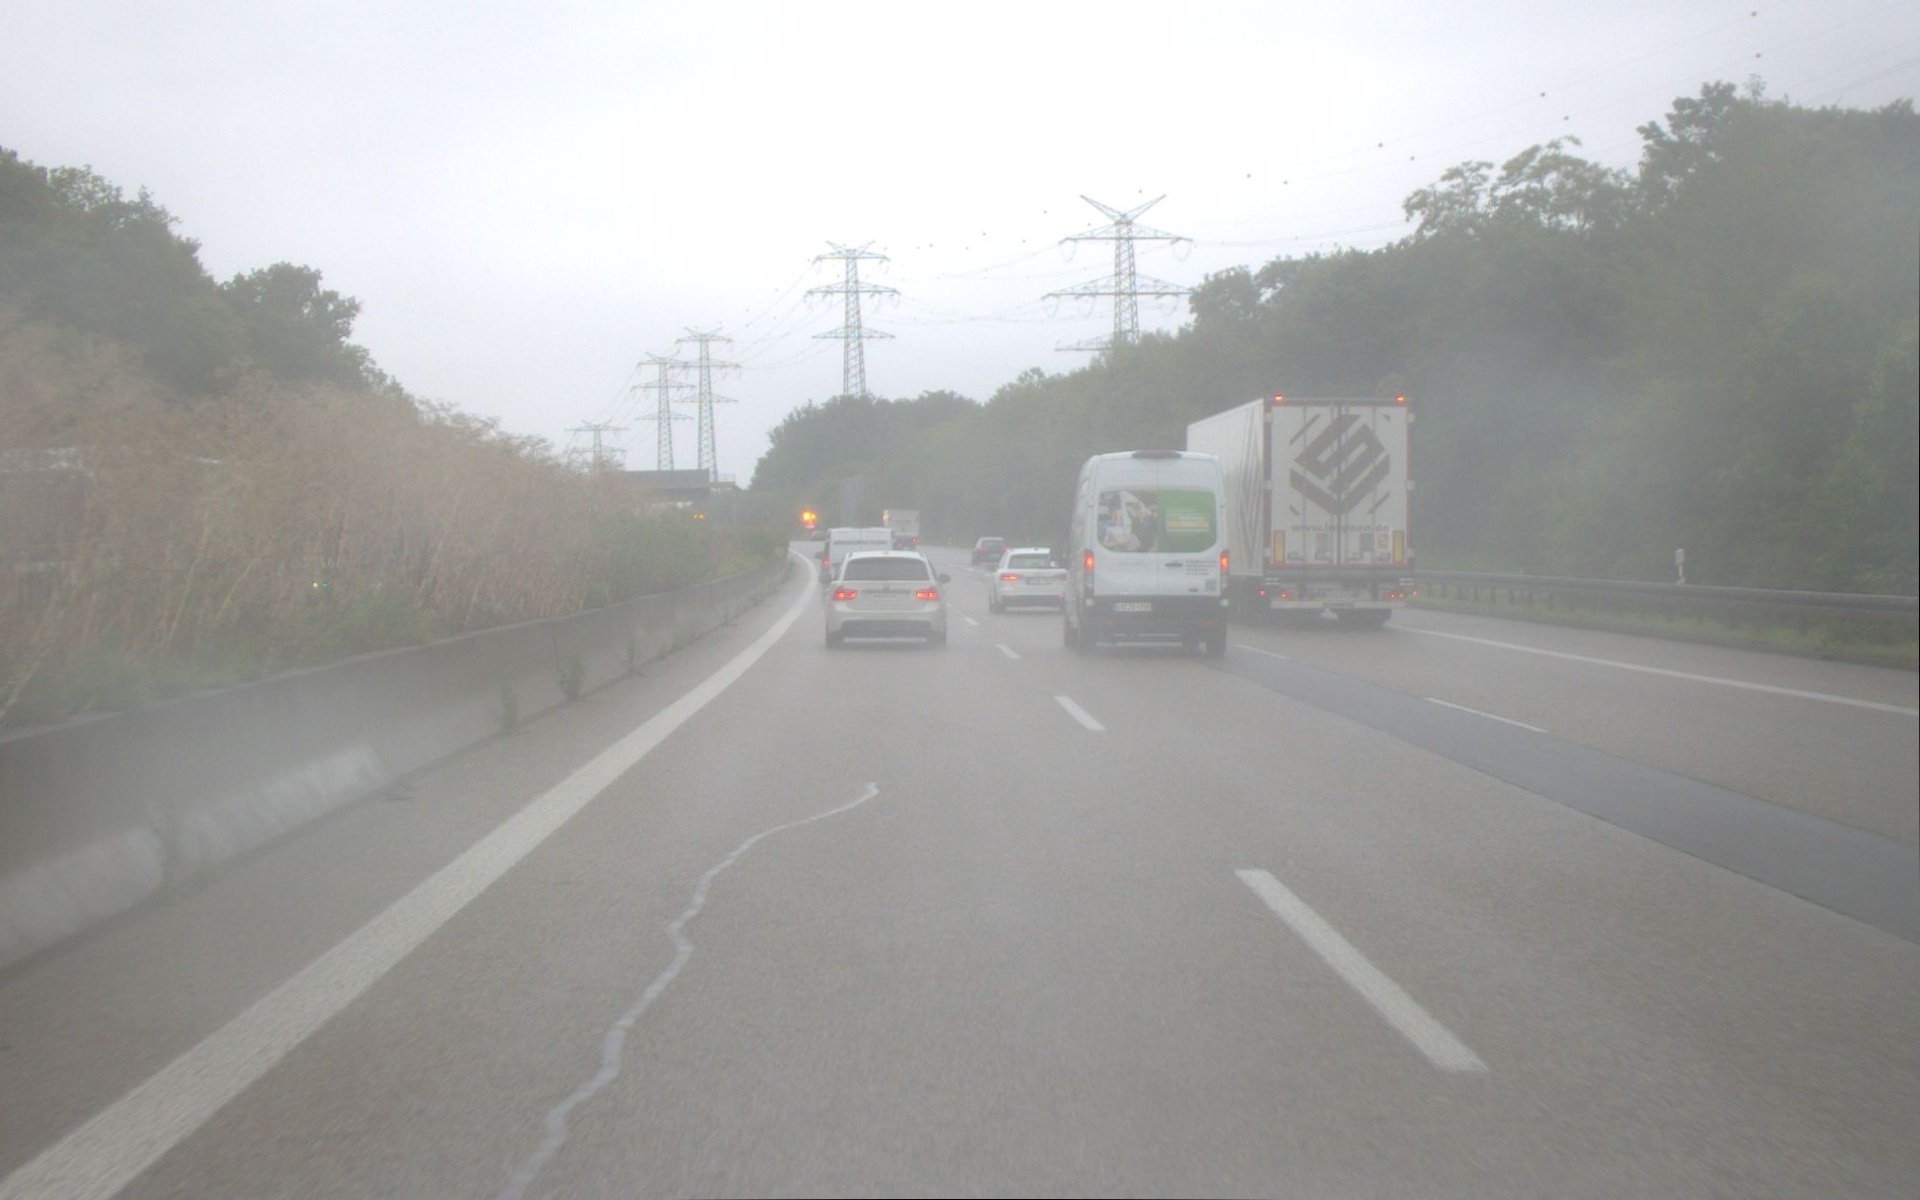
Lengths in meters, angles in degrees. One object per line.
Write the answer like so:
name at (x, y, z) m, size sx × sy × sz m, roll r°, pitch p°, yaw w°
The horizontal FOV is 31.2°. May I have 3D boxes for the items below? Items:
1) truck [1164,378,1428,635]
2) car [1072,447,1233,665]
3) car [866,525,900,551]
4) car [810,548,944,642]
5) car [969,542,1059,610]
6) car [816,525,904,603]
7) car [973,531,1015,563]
truck at (6.095, -1.652, 64.950) m, size 3.603 × 4.317 × 13.200 m, roll -1°, pitch 1°, yaw 0°
car at (2.615, -0.618, 47.549) m, size 1.993 × 2.854 × 4.000 m, roll -1°, pitch 1°, yaw 0°
car at (-4.930, -3.963, 220.339) m, size 1.993 × 1.568 × 4.000 m, roll -2°, pitch 0°, yaw 1°
car at (-1.197, -0.104, 50.852) m, size 1.866 × 1.284 × 4.000 m, roll -1°, pitch 1°, yaw 0°
car at (1.196, -0.539, 73.969) m, size 1.857 × 1.418 × 4.000 m, roll 0°, pitch 1°, yaw 2°
car at (-2.358, -0.880, 81.693) m, size 1.846 × 1.766 × 4.000 m, roll -1°, pitch 1°, yaw 1°
car at (1.726, -2.645, 173.403) m, size 1.993 × 1.481 × 4.000 m, roll -3°, pitch 0°, yaw 1°
